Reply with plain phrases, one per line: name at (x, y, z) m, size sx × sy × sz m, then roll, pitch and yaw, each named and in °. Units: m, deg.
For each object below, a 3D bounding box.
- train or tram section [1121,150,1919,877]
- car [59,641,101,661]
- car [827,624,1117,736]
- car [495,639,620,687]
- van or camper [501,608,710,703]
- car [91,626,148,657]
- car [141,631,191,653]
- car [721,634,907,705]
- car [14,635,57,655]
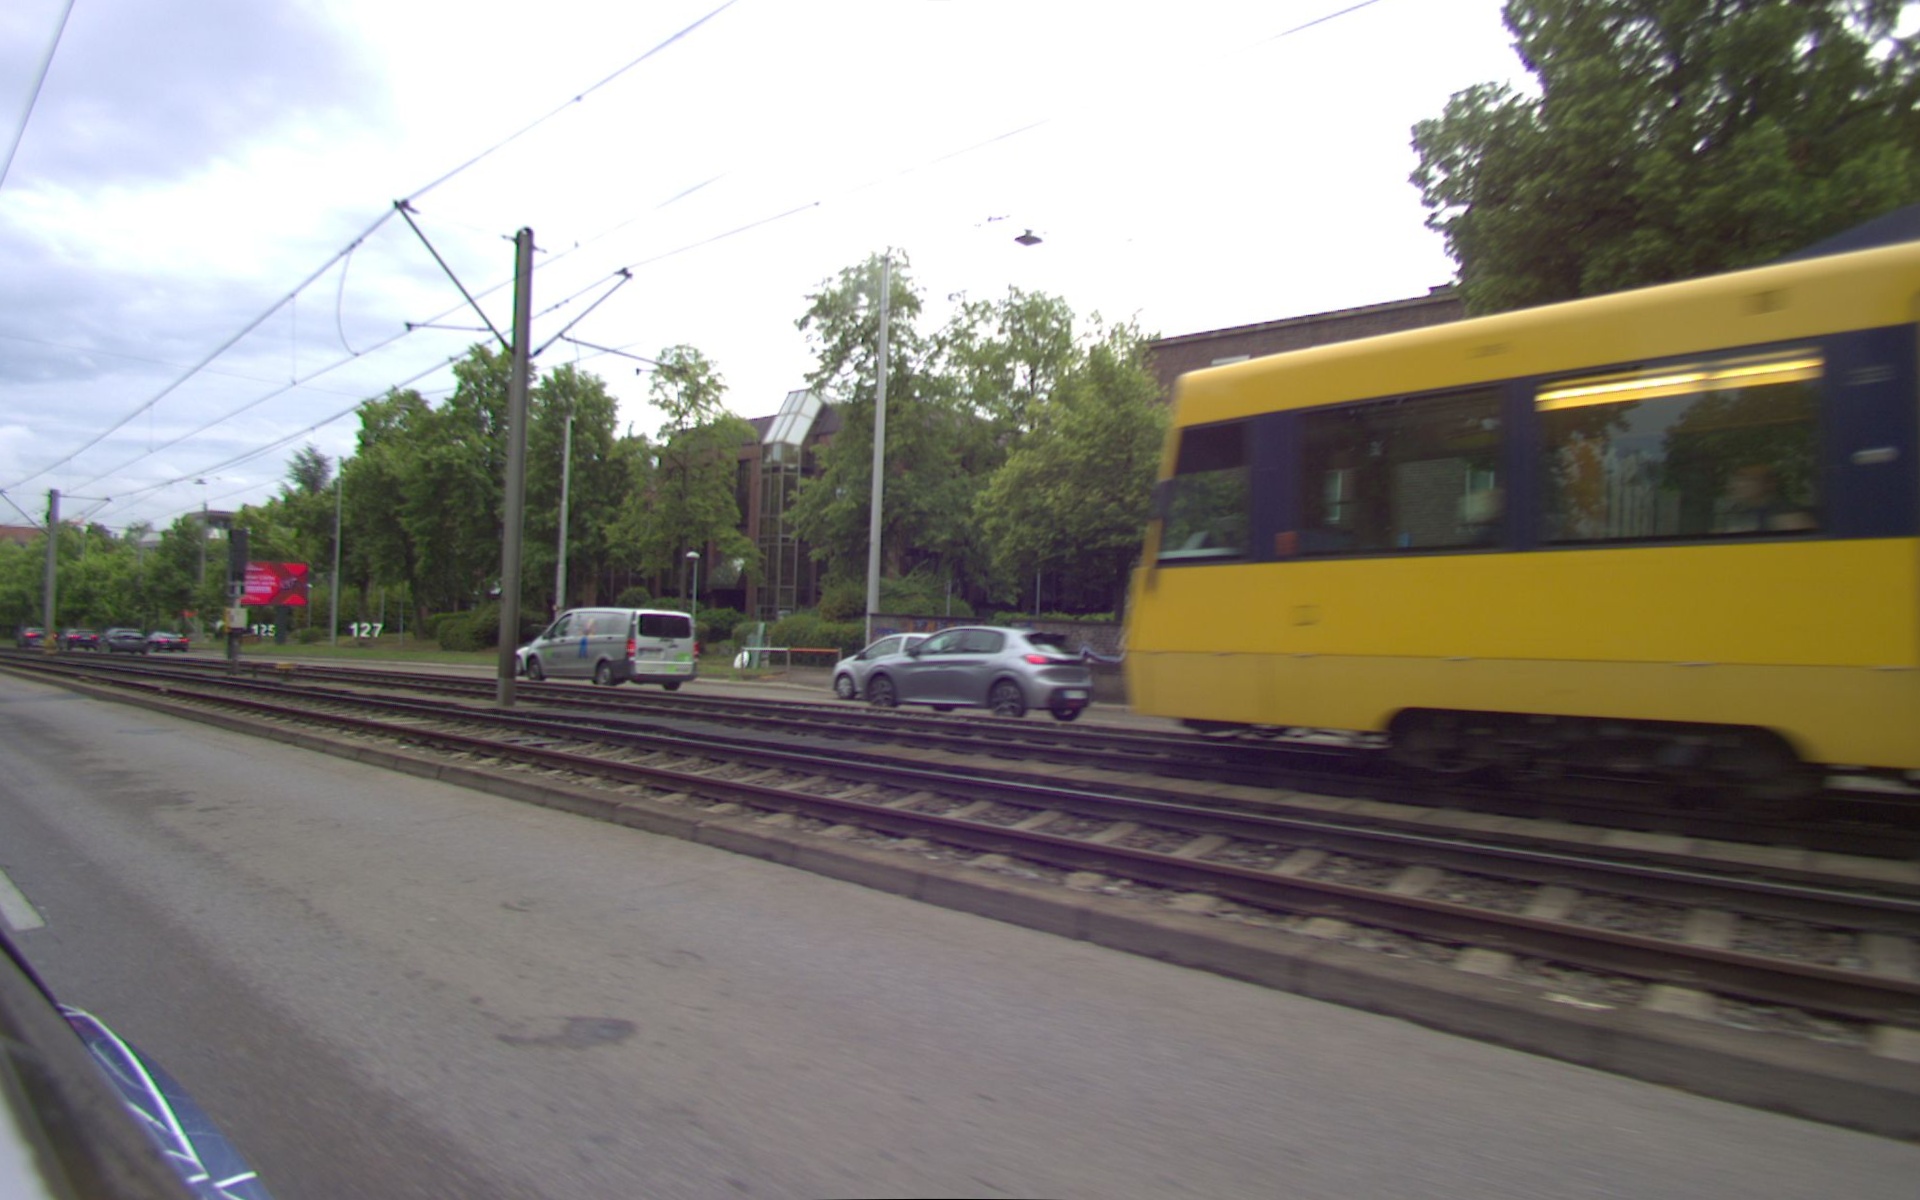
train or tram section at (9.888, -0.572, 3.424) m, size 20.015 × 4.006 × 2.799 m, roll -2°, pitch -3°, yaw 41°
car at (-67.056, 3.856, 77.095) m, size 4.337 × 1.523 × 1.746 m, roll -2°, pitch -3°, yaw 40°
car at (0.087, 1.184, 16.079) m, size 4.499 × 1.544 × 1.769 m, roll -2°, pitch -3°, yaw 39°
car at (-12.705, 1.957, 31.811) m, size 4.357 × 1.428 × 1.671 m, roll -2°, pitch -5°, yaw 39°
van or camper at (-8.365, 1.253, 23.574) m, size 5.687 × 1.974 × 1.894 m, roll -2°, pitch -3°, yaw 39°
car at (-47.057, 2.325, 56.641) m, size 4.337 × 1.650 × 1.670 m, roll -2°, pitch -3°, yaw 40°
car at (-57.615, 3.056, 73.421) m, size 4.337 × 1.513 × 1.933 m, roll -2°, pitch -3°, yaw 40°
car at (-3.421, 1.561, 23.253) m, size 4.475 × 1.479 × 1.670 m, roll -2°, pitch -5°, yaw 40°
car at (-66.478, 3.237, 72.770) m, size 4.337 × 1.404 × 1.670 m, roll -2°, pitch -3°, yaw 40°
